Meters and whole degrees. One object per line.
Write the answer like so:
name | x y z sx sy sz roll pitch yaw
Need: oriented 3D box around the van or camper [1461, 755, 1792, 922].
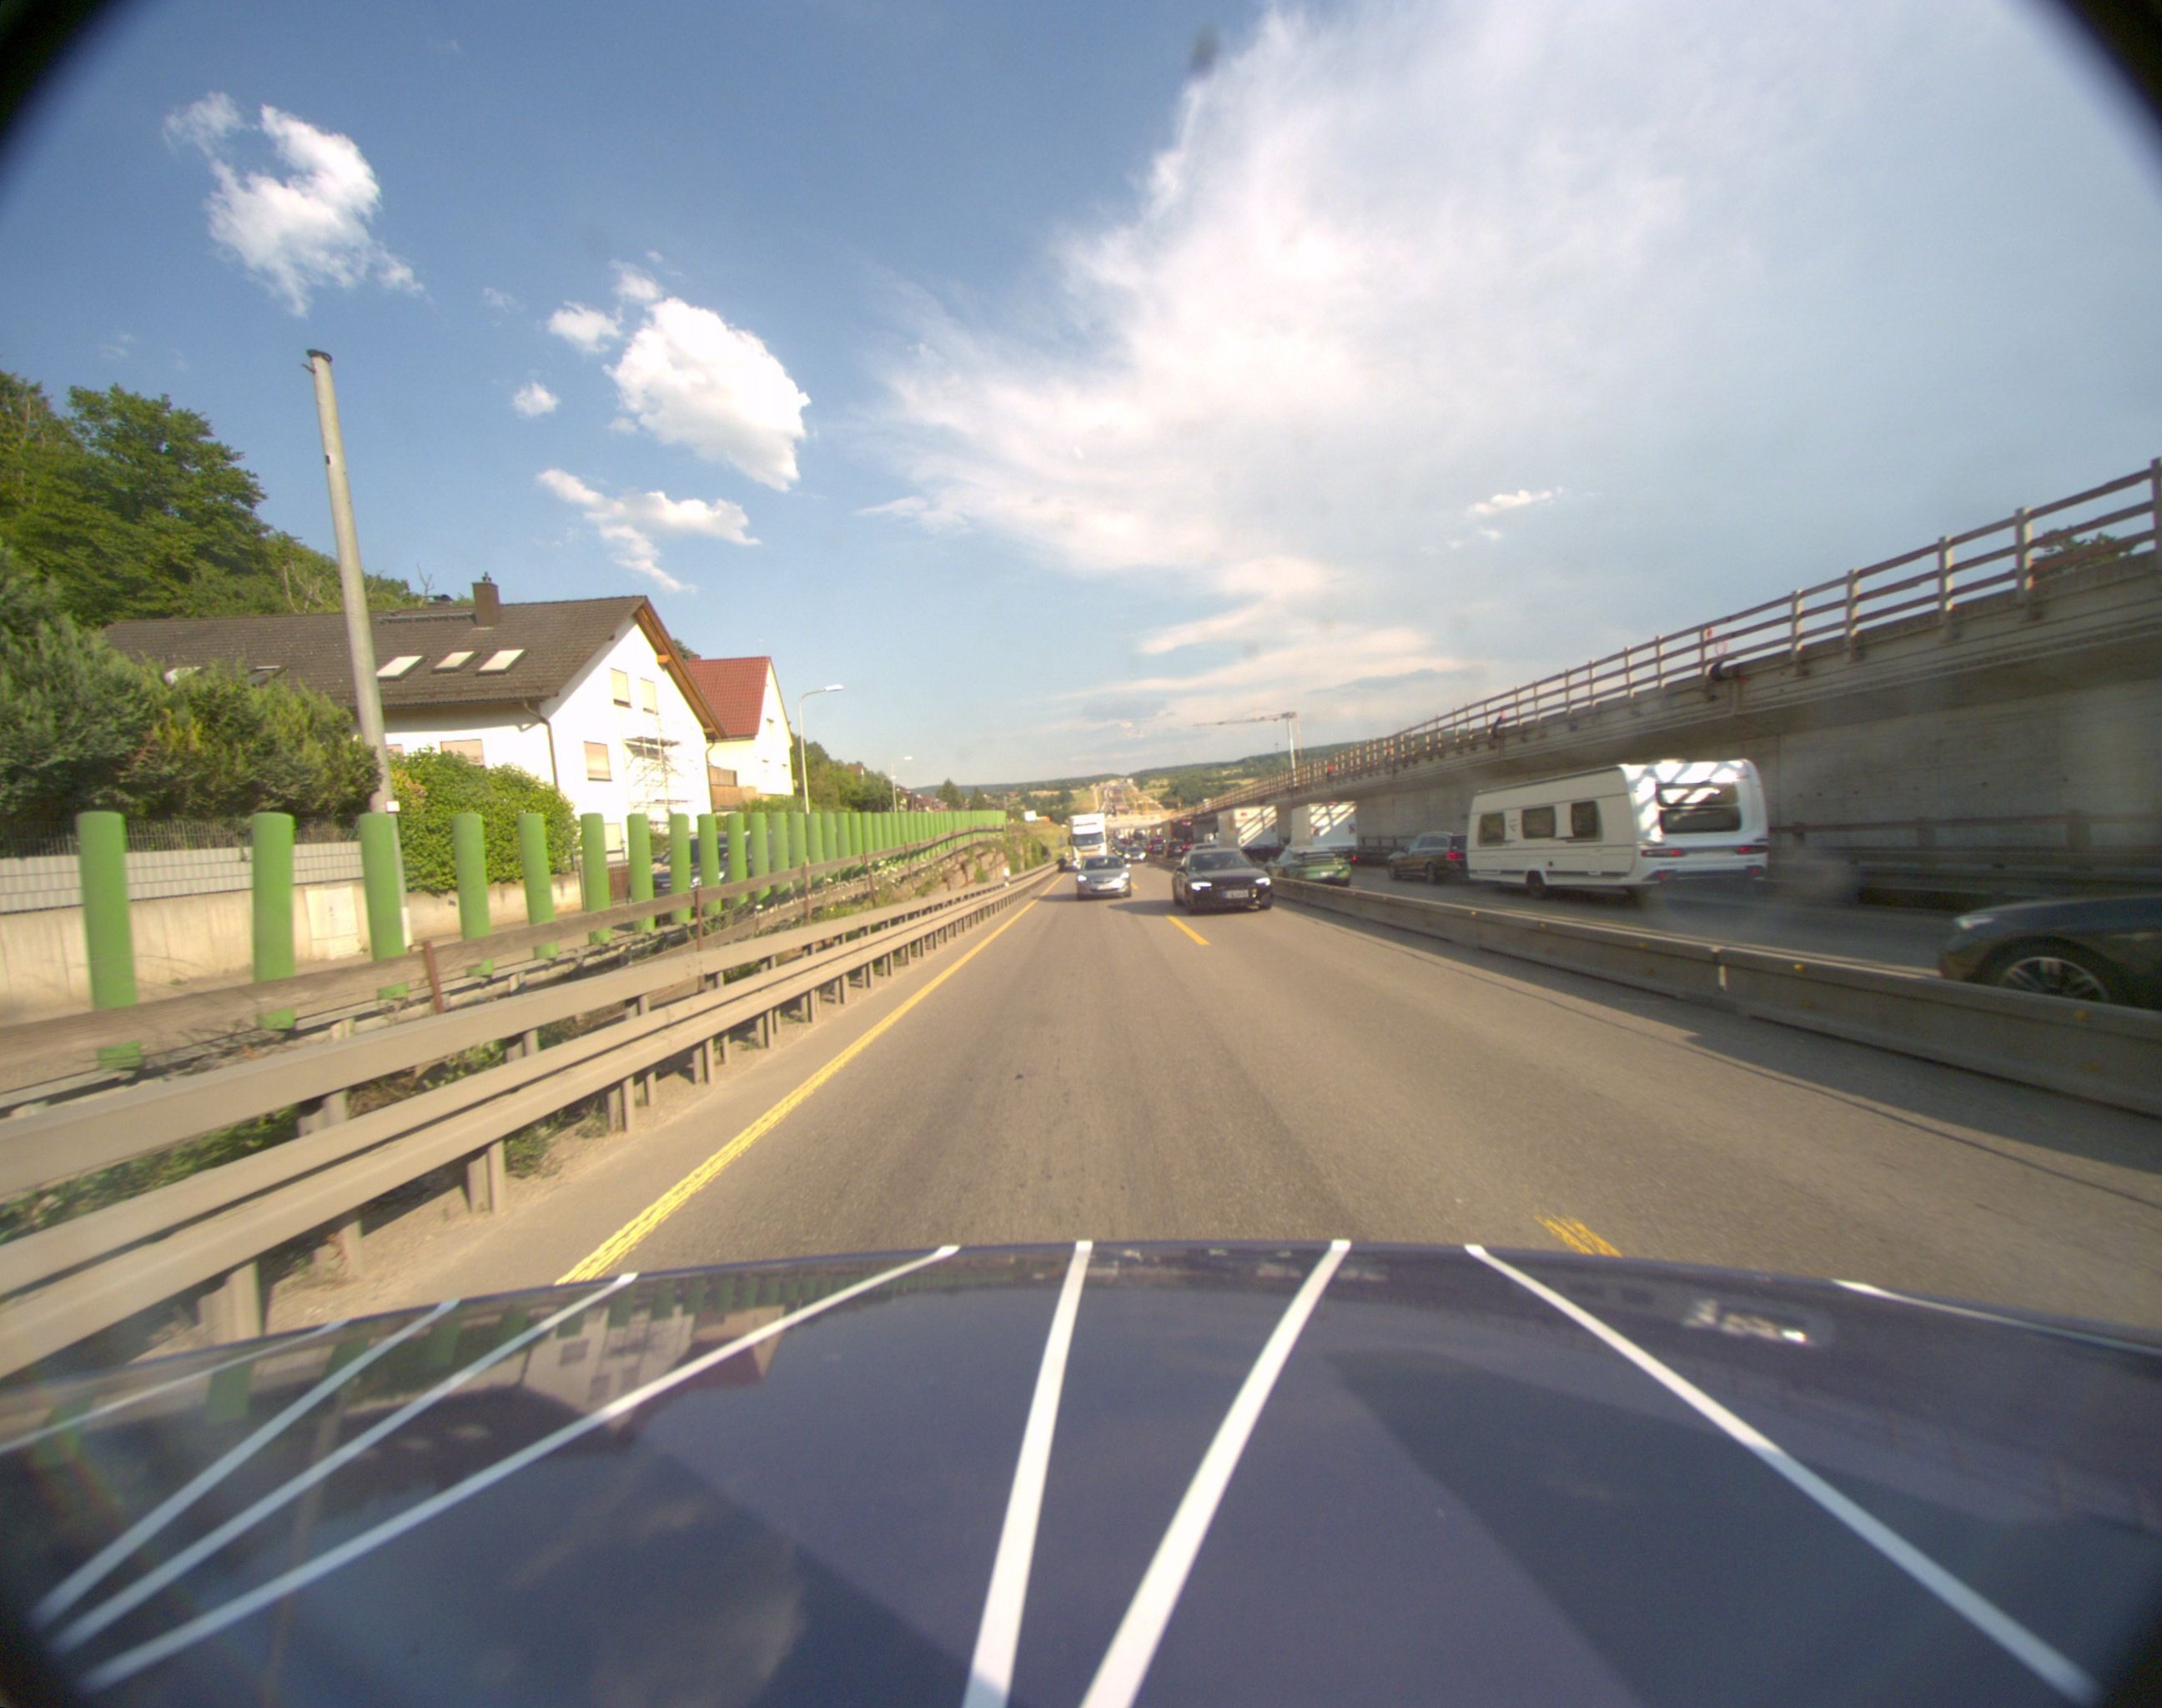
van or camper | 10.622 -0.306 15.781 2.317 2.647 6.454 -3 1 2

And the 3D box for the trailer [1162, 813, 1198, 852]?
trailer | 12.128 -2.735 94.243 2.920 4.216 13.766 -5 2 3

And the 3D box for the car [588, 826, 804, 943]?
car | -7.271 0.491 14.937 1.887 1.802 4.246 -5 1 0

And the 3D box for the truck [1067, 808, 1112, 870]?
truck | 0.869 -1.239 58.466 2.741 4.034 12.668 -5 2 2

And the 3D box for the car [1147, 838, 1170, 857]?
car | 8.674 -0.752 85.159 1.990 1.911 5.290 -6 1 1

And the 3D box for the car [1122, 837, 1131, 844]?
car | 11.022 -3.372 184.302 1.729 1.548 4.296 -5 1 2

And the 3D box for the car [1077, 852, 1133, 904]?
car | 0.814 0.759 25.556 1.671 1.425 3.523 -4 2 2

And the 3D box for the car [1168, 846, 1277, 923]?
car | 3.261 0.636 18.406 1.872 1.411 4.348 -4 2 2

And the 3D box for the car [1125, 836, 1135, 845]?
car | 10.351 -2.931 161.162 1.645 1.636 4.687 -5 2 1

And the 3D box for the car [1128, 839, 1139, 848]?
car | 9.774 -2.046 141.640 1.645 1.451 4.595 -5 2 2

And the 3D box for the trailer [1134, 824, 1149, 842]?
trailer | 15.408 -5.406 193.742 2.778 4.008 15.760 -5 2 2

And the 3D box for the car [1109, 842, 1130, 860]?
car | 4.239 -0.342 84.352 1.998 1.740 3.999 -4 1 0

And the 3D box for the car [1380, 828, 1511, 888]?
car | 10.671 0.068 22.685 1.645 1.522 4.783 -3 1 1

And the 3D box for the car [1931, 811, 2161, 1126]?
car | 6.655 0.635 2.669 1.842 1.585 4.867 -5 2 0

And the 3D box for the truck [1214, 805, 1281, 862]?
truck | 10.901 -1.359 50.567 2.721 3.405 8.138 -2 2 1

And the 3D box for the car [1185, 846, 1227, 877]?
car | 7.652 0.431 46.940 1.746 1.587 4.556 -5 2 1

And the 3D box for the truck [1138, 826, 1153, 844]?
truck | 13.218 -3.932 156.366 2.555 3.390 5.530 -5 2 2

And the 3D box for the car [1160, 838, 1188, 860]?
car | 7.950 -0.443 65.175 1.836 1.636 4.687 -5 2 1

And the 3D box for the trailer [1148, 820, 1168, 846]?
trailer | 13.136 -3.465 129.922 2.771 4.117 5.976 -5 1 2

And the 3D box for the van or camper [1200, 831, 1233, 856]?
van or camper | 11.651 -0.941 65.635 1.922 1.911 4.921 -5 1 1

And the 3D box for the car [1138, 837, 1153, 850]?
car | 9.733 -1.617 114.363 1.826 1.762 5.139 -5 2 2

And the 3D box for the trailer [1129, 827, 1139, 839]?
trailer | 17.277 -6.891 249.525 2.659 3.829 6.428 -5 2 2

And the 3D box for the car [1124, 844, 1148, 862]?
car | 4.629 -0.127 64.194 1.692 1.294 3.882 -5 2 0

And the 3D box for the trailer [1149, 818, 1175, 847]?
trailer | 12.949 -3.354 123.222 2.771 4.117 14.024 -5 1 2

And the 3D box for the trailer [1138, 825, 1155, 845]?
trailer | 12.919 -3.761 149.660 2.563 3.507 10.679 -5 2 2

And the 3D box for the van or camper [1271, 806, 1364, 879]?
van or camper | 10.890 -0.597 35.561 2.325 2.972 6.221 -3 2 0

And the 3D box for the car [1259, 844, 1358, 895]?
car | 6.928 0.415 23.630 1.785 1.317 4.239 -4 1 1

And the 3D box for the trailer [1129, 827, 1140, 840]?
trailer | 17.094 -6.683 243.266 2.659 3.829 13.440 -5 2 2
